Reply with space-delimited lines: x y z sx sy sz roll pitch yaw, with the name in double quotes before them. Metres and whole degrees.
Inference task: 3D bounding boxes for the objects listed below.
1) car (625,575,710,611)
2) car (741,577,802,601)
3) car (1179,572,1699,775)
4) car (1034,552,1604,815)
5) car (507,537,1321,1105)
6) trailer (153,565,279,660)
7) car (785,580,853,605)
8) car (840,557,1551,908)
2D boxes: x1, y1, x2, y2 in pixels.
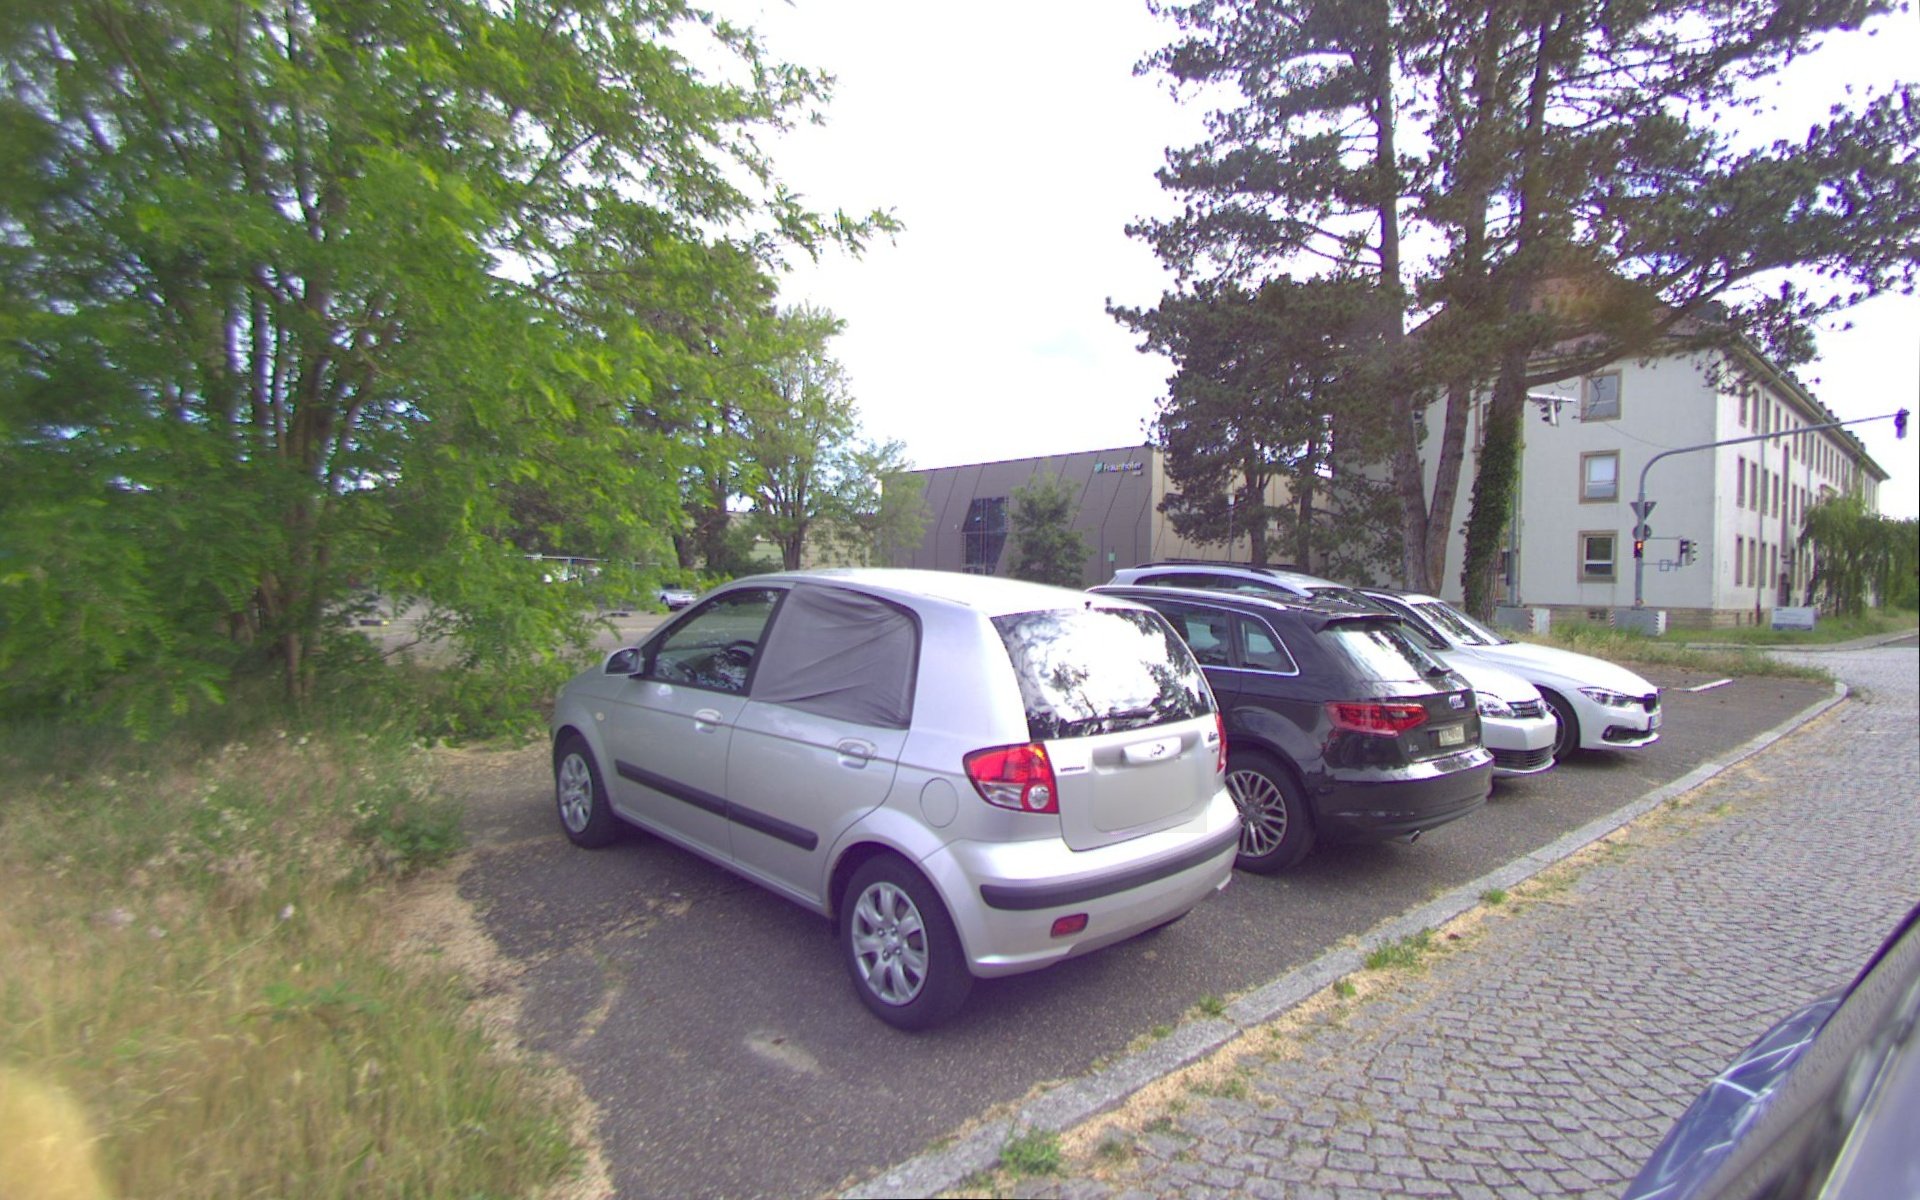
"car" -13.058 -0.338 45.069 4.137 1.492 1.835 2 1 43
"car" -13.870 -0.840 74.489 1.833 1.606 4.130 2 4 45
"car" 4.773 0.556 10.627 1.798 1.442 4.554 -1 4 -45
"car" 2.920 0.482 8.900 4.330 1.593 1.799 5 4 43
"car" -0.519 0.556 4.800 1.714 1.498 3.776 1 3 -45
"trailer" -10.284 0.141 13.947 1.125 1.184 2.314 -1 1 -43
"car" -9.525 -0.552 68.400 1.833 1.481 4.348 2 4 45
"car" 1.238 0.553 6.819 1.766 1.423 4.372 1 3 -44
